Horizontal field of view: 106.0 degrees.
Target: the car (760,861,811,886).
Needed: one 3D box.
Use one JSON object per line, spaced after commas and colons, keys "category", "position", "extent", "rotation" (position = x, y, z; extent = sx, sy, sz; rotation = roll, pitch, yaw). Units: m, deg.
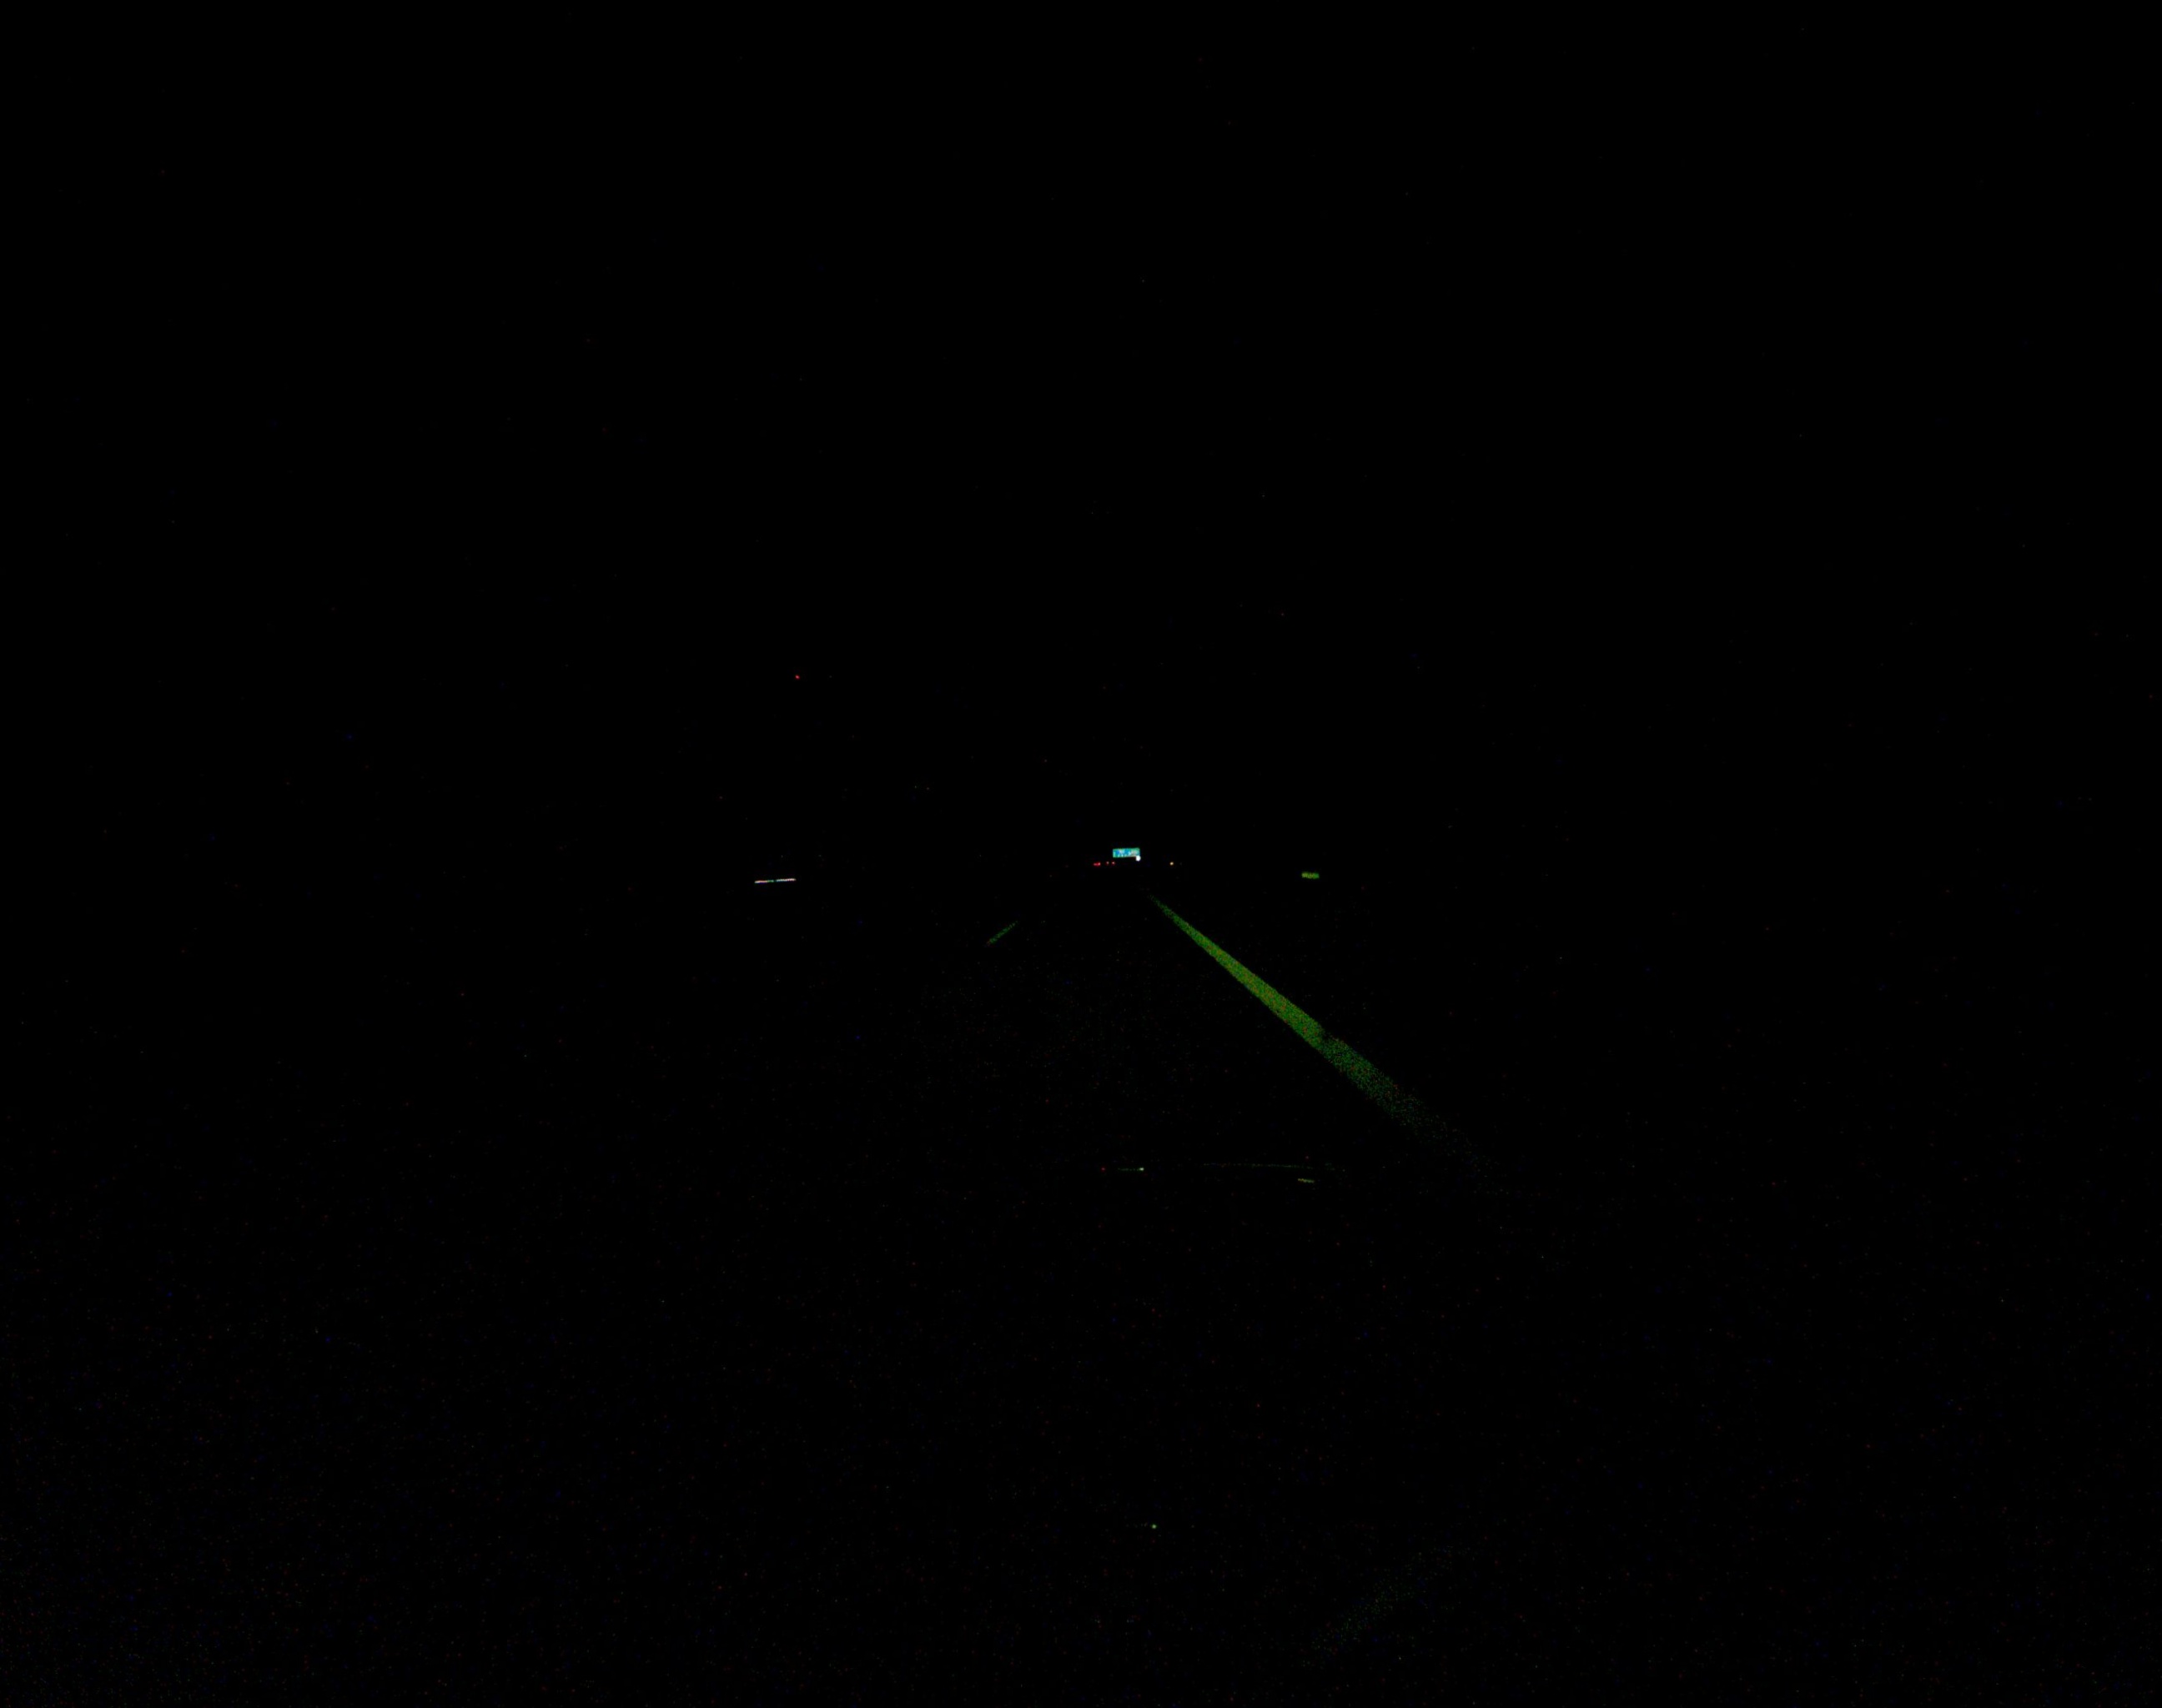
{"category": "car", "position": [-21.101, 1.335, 58.336], "extent": [1.891, 1.646, 4.702], "rotation": [-1, 0, 0]}
